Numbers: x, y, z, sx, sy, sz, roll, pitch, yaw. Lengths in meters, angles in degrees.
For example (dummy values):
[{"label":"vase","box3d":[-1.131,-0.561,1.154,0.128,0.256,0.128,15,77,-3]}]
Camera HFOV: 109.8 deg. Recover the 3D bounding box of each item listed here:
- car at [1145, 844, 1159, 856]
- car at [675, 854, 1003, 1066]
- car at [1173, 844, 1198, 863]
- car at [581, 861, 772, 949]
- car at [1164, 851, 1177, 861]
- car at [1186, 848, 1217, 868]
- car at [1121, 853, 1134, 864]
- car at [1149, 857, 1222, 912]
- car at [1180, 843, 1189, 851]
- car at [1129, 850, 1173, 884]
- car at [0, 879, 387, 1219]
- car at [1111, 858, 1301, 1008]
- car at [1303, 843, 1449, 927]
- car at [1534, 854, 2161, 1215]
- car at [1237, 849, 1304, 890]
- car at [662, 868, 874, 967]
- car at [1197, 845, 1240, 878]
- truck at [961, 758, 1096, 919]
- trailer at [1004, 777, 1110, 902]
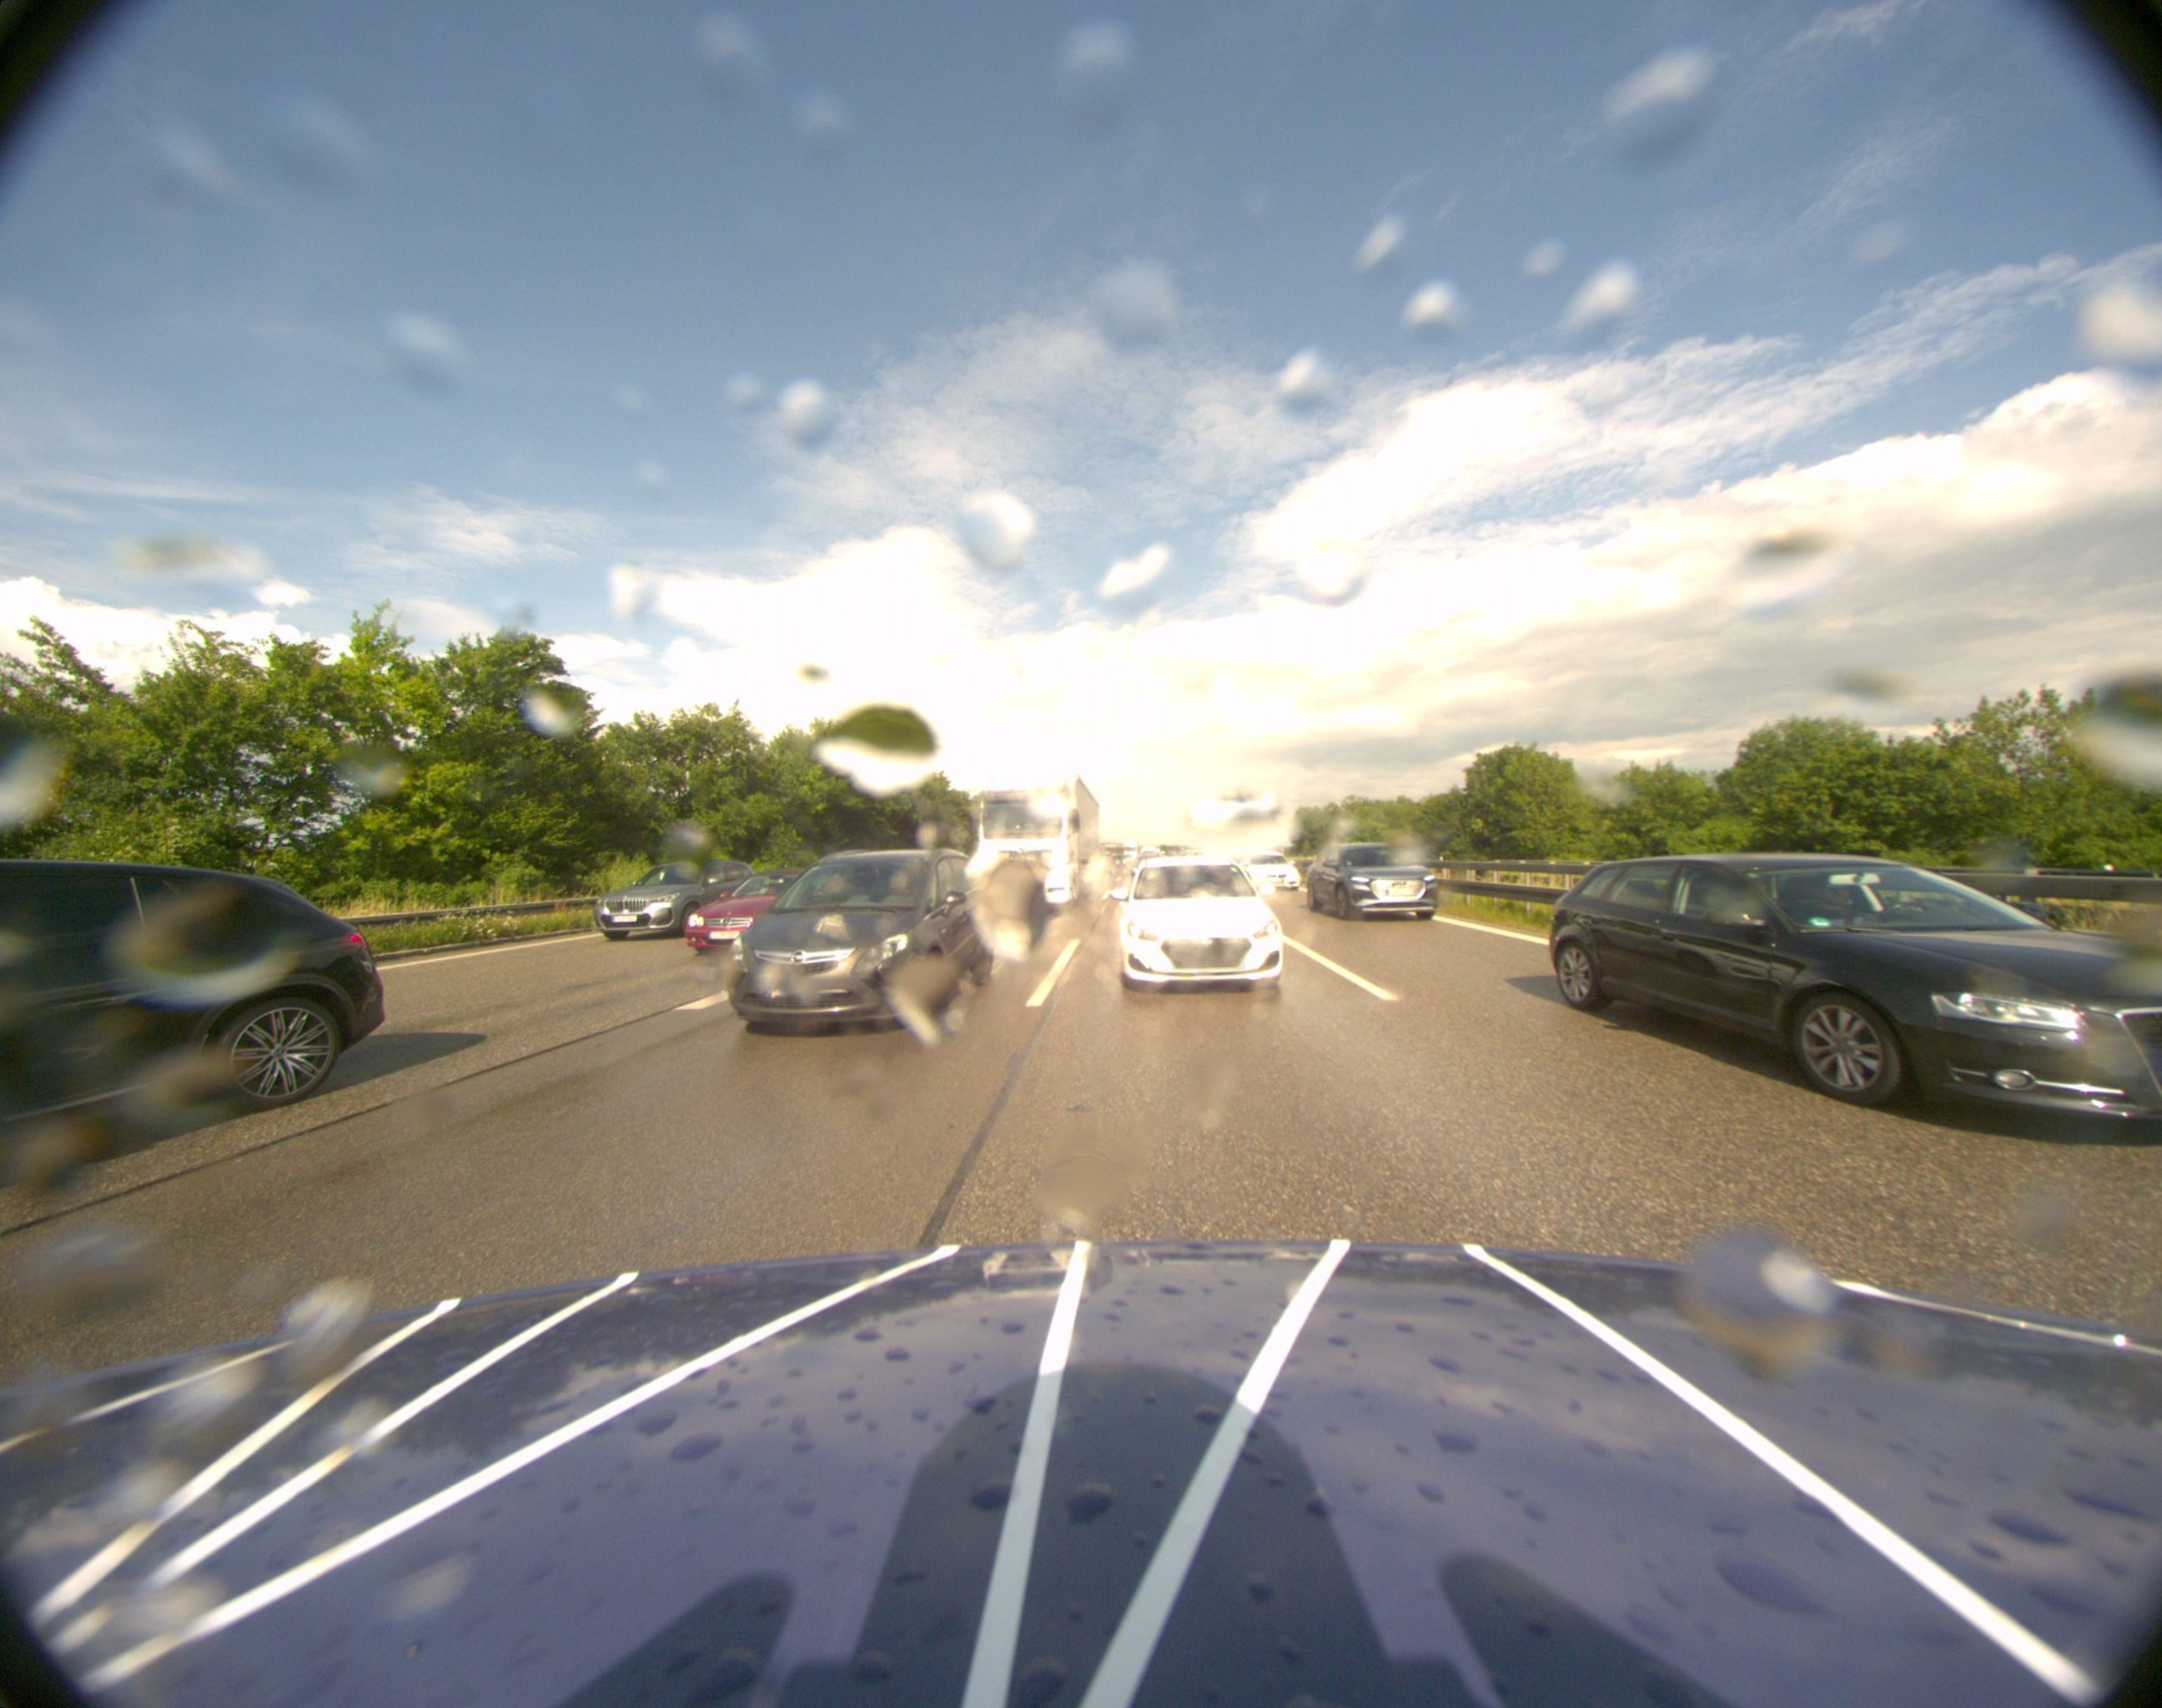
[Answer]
[{"label":"car","box3d":[11.278,-0.678,121.290,1.998,1.687,4.000,-3,1,3]},{"label":"car","box3d":[-2.176,0.862,8.284,1.883,1.638,4.397,-1,0,4]},{"label":"car","box3d":[10.111,-0.087,73.872,1.998,1.687,4.000,-3,1,3]},{"label":"car","box3d":[-8.846,1.032,17.117,1.752,1.577,4.287,-2,1,3]},{"label":"car","box3d":[15.876,0.377,135.534,1.998,1.687,4.000,-3,1,3]},{"label":"car","box3d":[9.749,0.301,61.819,1.998,1.471,4.000,-3,1,3]},{"label":"car","box3d":[7.792,0.765,127.308,1.998,1.687,4.000,-3,1,3]},{"label":"car","box3d":[2.863,0.788,21.600,1.728,1.330,4.288,-1,0,4]},{"label":"car","box3d":[25.974,-1.778,191.253,1.998,1.768,4.462,-2,0,4]},{"label":"car","box3d":[3.396,0.602,37.485,1.998,1.477,4.000,-2,1,3]},{"label":"car","box3d":[-6.283,1.011,3.326,1.998,1.572,4.654,-1,0,4]},{"label":"car","box3d":[1.409,0.817,9.977,1.885,1.446,4.549,-1,0,4]},{"label":"car","box3d":[6.333,0.582,16.865,1.874,1.597,4.230,-2,1,5]},{"label":"car","box3d":[5.102,0.769,5.208,1.770,1.417,4.139,-2,1,5]},{"label":"car","box3d":[7.173,0.540,29.140,1.771,1.371,4.000,-1,1,3]},{"label":"car","box3d":[-5.570,1.056,14.262,1.755,1.402,4.512,-2,0,5]},{"label":"car","box3d":[8.174,0.407,45.516,1.998,1.739,4.000,-3,1,3]},{"label":"truck","box3d":[-1.309,-0.429,23.460,2.816,4.083,7.447,-2,1,5]},{"label":"trailer","box3d":[-0.593,-0.544,31.192,2.789,4.083,11.542,-2,1,5]}]
